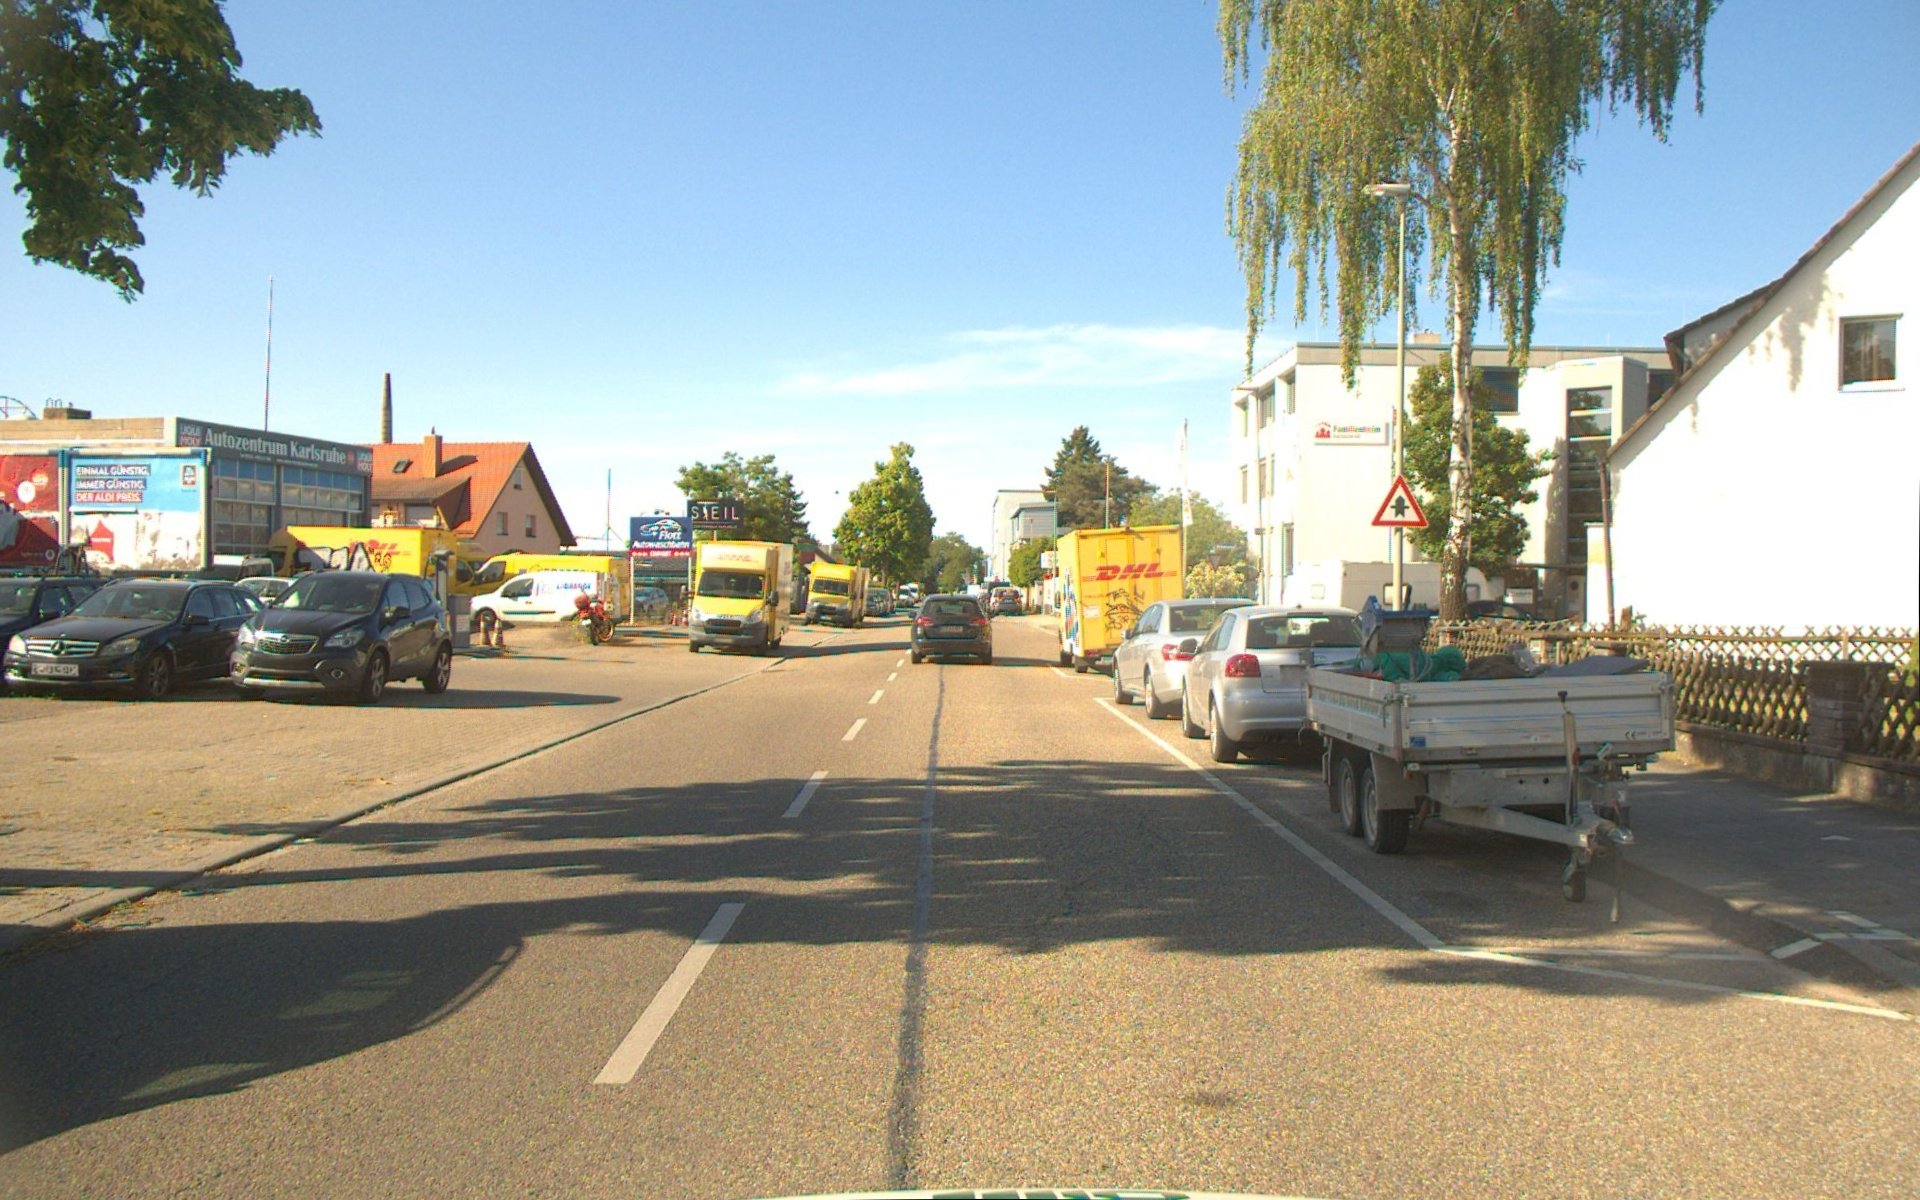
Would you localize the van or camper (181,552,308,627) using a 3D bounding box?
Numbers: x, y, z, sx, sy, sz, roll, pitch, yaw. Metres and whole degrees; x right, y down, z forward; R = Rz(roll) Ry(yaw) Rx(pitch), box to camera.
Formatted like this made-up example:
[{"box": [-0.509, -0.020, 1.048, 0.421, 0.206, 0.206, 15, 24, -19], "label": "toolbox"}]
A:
[{"box": [-20.530, -0.308, 47.609, 1.822, 2.049, 4.001, 0, 0, 1], "label": "van or camper"}]

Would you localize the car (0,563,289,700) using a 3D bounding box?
[{"box": [-10.621, 0.362, 21.847, 1.823, 1.617, 4.276, 0, 0, -1], "label": "car"}]

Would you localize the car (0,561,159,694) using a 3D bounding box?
[{"box": [-12.619, 0.377, 22.034, 1.823, 1.618, 4.275, 0, -1, -1], "label": "car"}]

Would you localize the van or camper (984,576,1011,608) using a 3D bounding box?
[{"box": [2.811, -0.616, 125.368, 1.953, 2.351, 4.000, 1, 0, 0], "label": "van or camper"}]

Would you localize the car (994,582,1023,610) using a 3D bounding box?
[{"box": [3.338, -0.281, 114.822, 1.879, 1.857, 4.079, 1, 0, 0], "label": "car"}]

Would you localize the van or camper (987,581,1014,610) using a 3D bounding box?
[{"box": [2.929, -0.346, 120.234, 1.879, 2.055, 4.079, 1, 0, 0], "label": "van or camper"}]

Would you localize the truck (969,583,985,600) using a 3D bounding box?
[{"box": [2.233, -1.135, 219.532, 1.953, 2.327, 6.955, 1, 0, 0], "label": "truck"}]

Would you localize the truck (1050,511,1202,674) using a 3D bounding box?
[{"box": [3.313, -0.157, 34.582, 2.354, 2.988, 7.015, -2, 0, 0], "label": "truck"}]

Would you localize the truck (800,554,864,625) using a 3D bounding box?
[{"box": [-5.820, -0.464, 76.005, 2.353, 3.035, 6.373, 2, 0, 0], "label": "truck"}]

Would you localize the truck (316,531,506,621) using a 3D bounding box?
[{"box": [-18.912, -0.828, 57.054, 5.961, 3.024, 2.175, 0, 0, 13], "label": "truck"}]

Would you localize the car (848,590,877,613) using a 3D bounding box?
[{"box": [-6.152, 0.079, 104.796, 1.721, 1.428, 4.556, 0, 0, -2], "label": "car"}]

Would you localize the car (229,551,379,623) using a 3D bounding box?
[{"box": [-18.209, -0.332, 46.139, 1.951, 1.847, 4.003, 2, 0, 12], "label": "car"}]

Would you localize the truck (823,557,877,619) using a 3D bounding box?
[{"box": [-5.590, -0.606, 84.981, 2.147, 2.952, 6.439, 2, 0, 1], "label": "truck"}]

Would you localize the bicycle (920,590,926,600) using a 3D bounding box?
[{"box": [-4.767, -0.636, 212.895, 0.812, 1.173, 2.939, 0, 0, -2], "label": "bicycle"}]

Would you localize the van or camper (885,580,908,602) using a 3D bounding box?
[{"box": [-7.136, -0.972, 185.092, 2.277, 2.403, 6.523, 1, 0, -4], "label": "van or camper"}]

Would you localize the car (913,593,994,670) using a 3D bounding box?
[{"box": [-0.111, 0.645, 36.226, 1.676, 1.559, 3.688, 0, 1, 1], "label": "car"}]

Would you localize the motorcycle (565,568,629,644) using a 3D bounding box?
[{"box": [-9.683, 0.132, 44.263, 0.765, 1.905, 3.042, 3, 1, 4], "label": "motorcycle"}]

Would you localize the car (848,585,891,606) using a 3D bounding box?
[{"box": [-6.687, -0.343, 121.789, 1.851, 1.511, 4.014, -1, 1, -24], "label": "car"}]

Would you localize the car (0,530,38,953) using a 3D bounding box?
[{"box": [-4.847, 0.587, 4.907, 1.640, 1.802, 4.554, 3, 1, -1], "label": "car"}]

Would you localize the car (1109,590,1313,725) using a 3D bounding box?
[{"box": [3.190, 0.672, 21.923, 1.748, 1.569, 4.534, 1, 1, -4], "label": "car"}]

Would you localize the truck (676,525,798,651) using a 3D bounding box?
[{"box": [-5.889, -0.314, 44.632, 2.354, 3.035, 7.243, 2, 0, -1], "label": "truck"}]

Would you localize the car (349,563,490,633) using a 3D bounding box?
[{"box": [-14.763, -0.092, 45.441, 1.825, 1.589, 4.218, 2, 4, 11], "label": "car"}]

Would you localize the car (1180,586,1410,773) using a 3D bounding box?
[{"box": [3.154, 0.665, 16.293, 1.639, 1.569, 4.045, 1, 1, 3], "label": "car"}]

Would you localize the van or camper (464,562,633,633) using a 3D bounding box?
[{"box": [-12.361, -0.080, 49.859, 4.447, 2.049, 2.252, 0, 0, 6], "label": "van or camper"}]

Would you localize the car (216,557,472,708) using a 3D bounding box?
[{"box": [-8.151, 0.382, 22.342, 1.824, 1.744, 4.276, 3, 0, -1], "label": "car"}]

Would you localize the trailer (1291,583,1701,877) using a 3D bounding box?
[{"box": [3.204, 0.683, 10.504, 1.593, 1.565, 3.198, 1, 1, 1], "label": "trailer"}]

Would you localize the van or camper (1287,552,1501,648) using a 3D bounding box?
[{"box": [12.238, -0.004, 46.554, 5.739, 2.586, 2.272, 0, 0, -25], "label": "van or camper"}]

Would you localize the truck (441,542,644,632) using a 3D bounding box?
[{"box": [-13.260, -0.424, 52.631, 5.795, 2.612, 2.226, 2, 1, 11], "label": "truck"}]

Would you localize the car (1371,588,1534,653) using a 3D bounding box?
[{"box": [13.056, 0.515, 43.846, 3.934, 1.646, 1.797, 0, 0, -24], "label": "car"}]

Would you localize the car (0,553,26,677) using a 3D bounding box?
[{"box": [-14.999, 0.257, 22.473, 1.738, 1.778, 4.168, 0, 2, 11], "label": "car"}]

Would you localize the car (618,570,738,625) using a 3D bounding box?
[{"box": [-10.886, -0.102, 63.987, 4.157, 2.049, 1.871, 0, 0, 8], "label": "car"}]

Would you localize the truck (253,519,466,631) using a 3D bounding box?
[{"box": [-18.410, -0.771, 50.801, 5.548, 3.173, 2.525, 2, 1, 11], "label": "truck"}]
